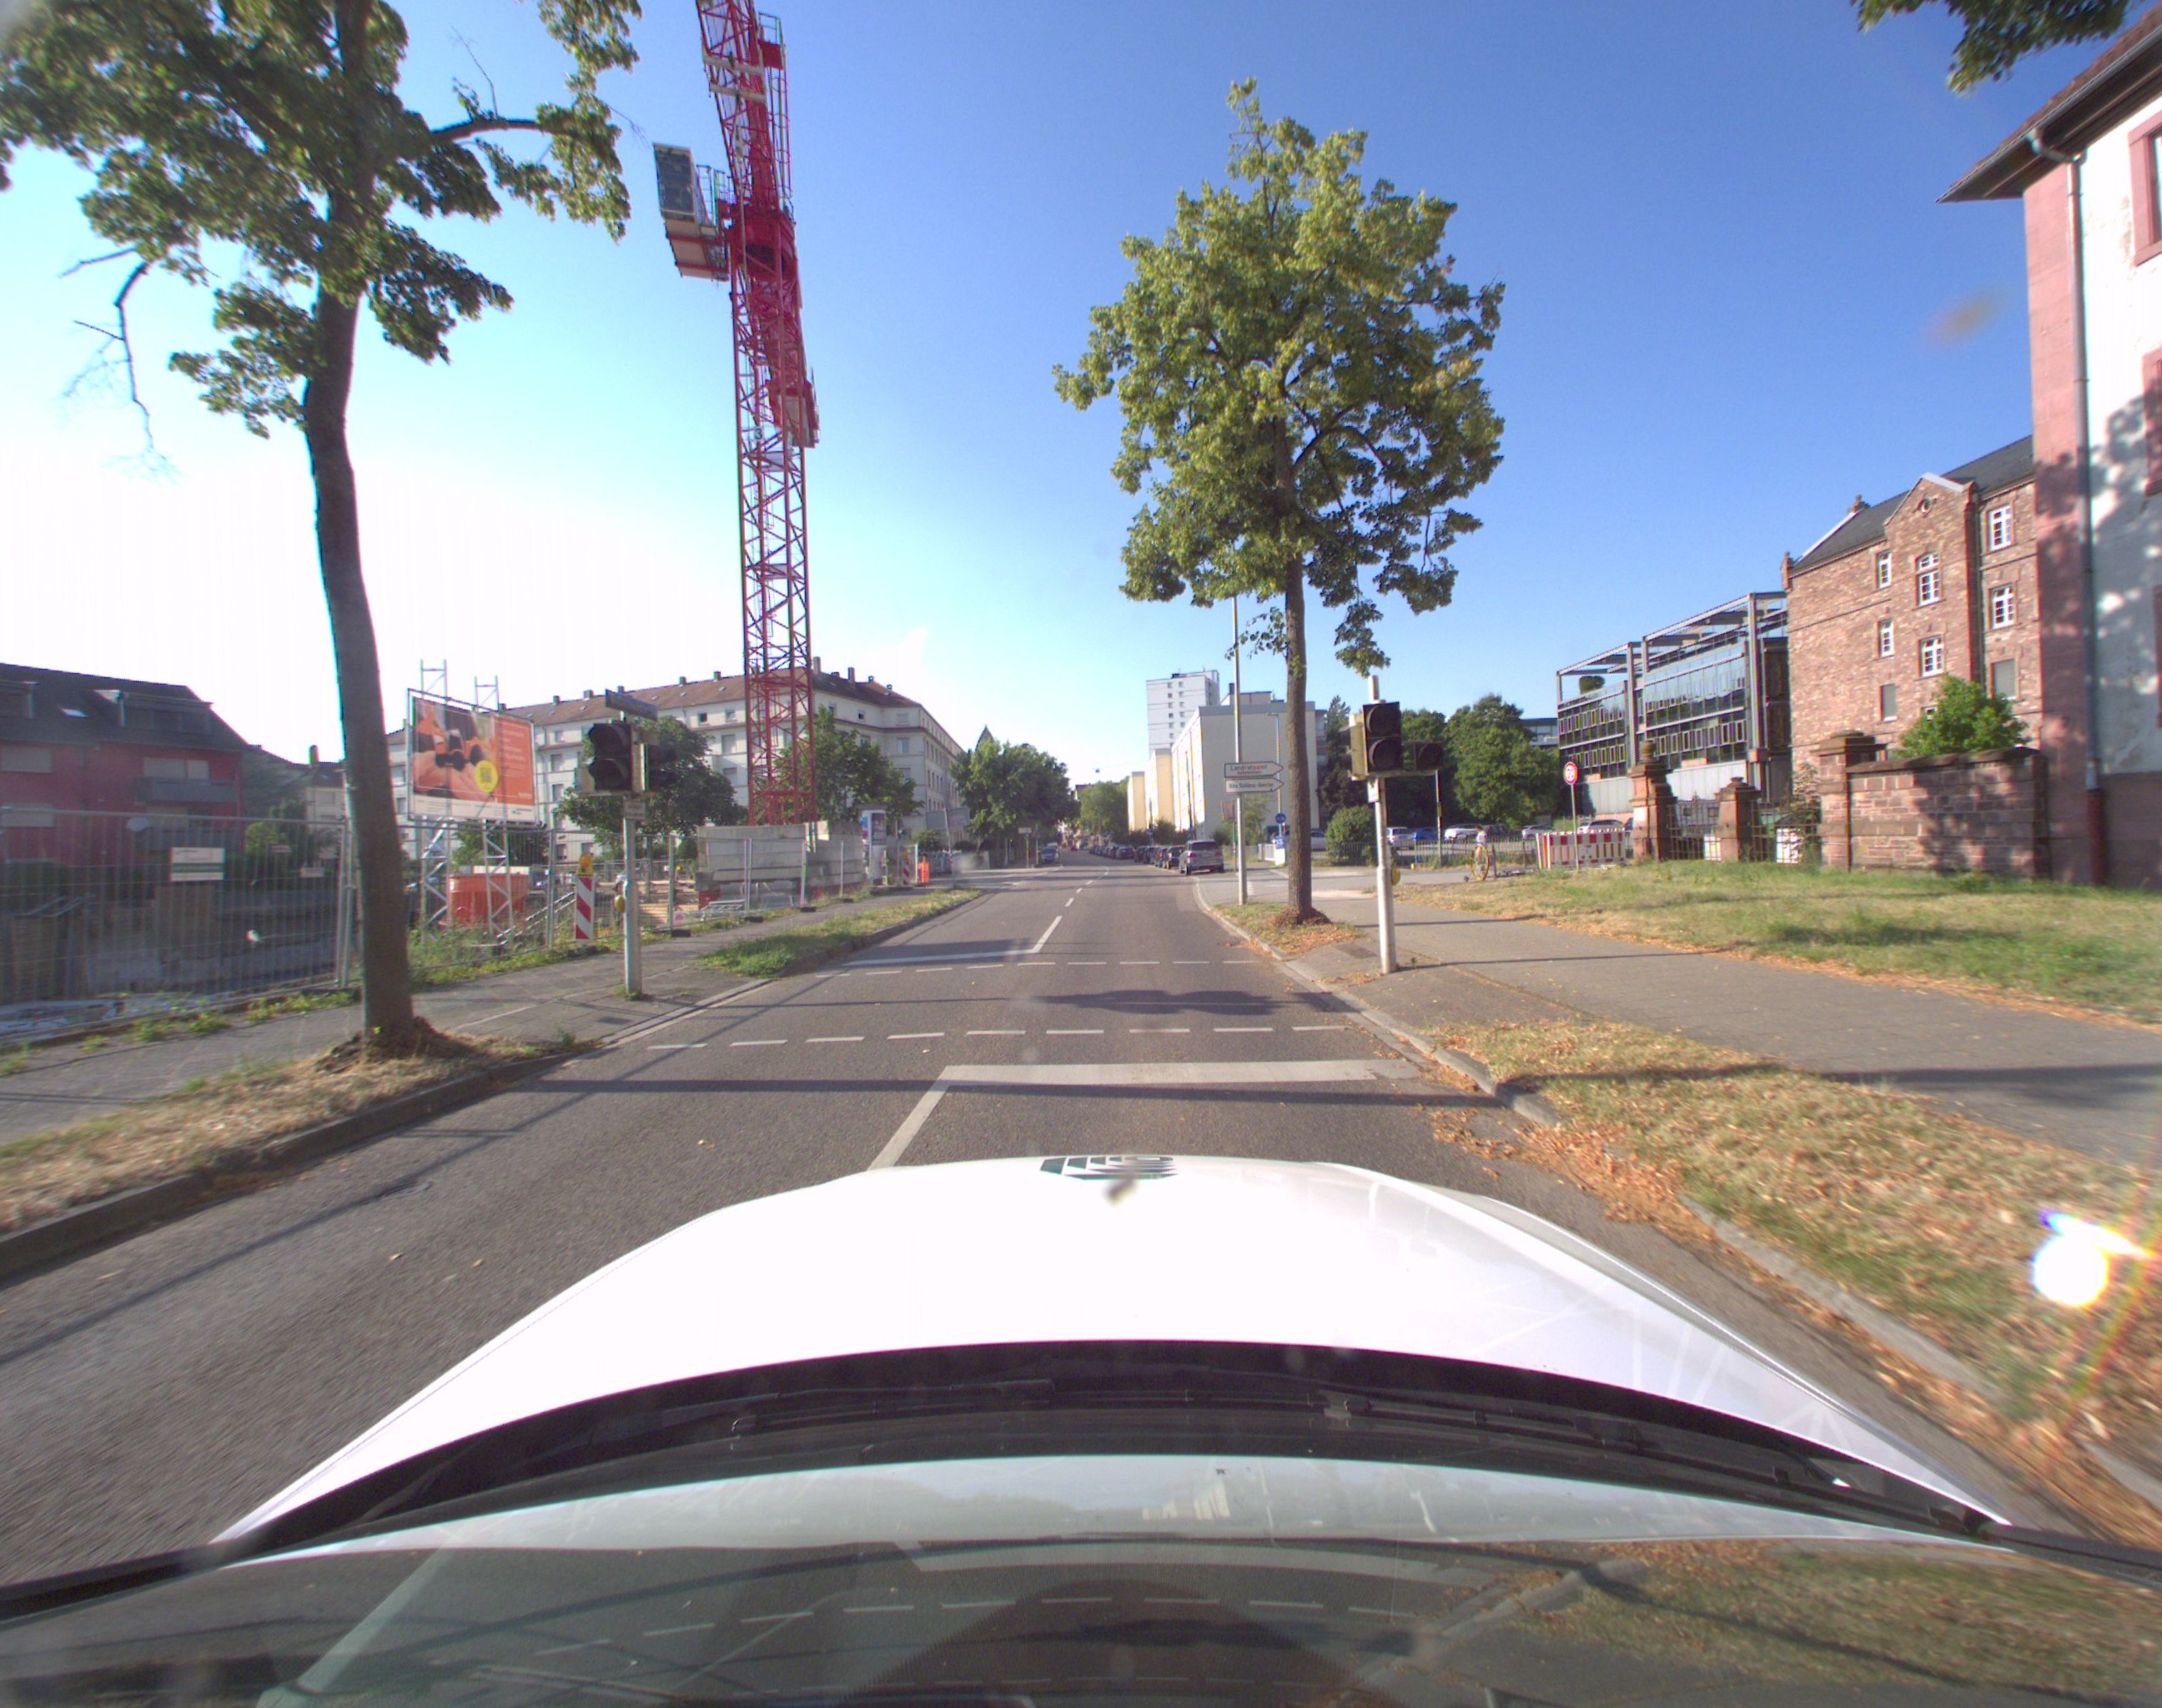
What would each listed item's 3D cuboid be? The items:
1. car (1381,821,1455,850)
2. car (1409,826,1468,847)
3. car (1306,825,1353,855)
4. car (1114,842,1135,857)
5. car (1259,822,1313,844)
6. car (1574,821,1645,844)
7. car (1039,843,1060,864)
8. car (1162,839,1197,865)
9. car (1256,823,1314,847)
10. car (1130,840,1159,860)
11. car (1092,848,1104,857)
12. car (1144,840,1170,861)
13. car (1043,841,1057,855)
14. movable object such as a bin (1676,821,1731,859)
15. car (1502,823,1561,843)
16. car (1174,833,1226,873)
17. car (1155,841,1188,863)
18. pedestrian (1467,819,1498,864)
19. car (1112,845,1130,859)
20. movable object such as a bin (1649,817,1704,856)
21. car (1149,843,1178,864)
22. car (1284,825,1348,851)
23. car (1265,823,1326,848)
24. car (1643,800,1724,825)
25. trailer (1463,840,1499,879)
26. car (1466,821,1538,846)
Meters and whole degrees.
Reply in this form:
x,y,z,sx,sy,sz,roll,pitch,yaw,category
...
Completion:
x,y,z,sx,sy,sz,roll,pitch,yaw,category
21.894,-1.208,52.976,3.976,1.794,1.999,0,-1,-2,car
30.699,-1.473,70.008,4.262,1.725,1.999,0,-1,-2,car
14.845,-0.800,48.802,1.647,1.662,4.000,0,-1,0,car
5.039,-0.519,94.653,1.795,1.507,4.615,-3,0,-4,car
17.057,-1.733,67.935,3.976,1.794,1.999,0,-1,-2,car
41.261,-1.670,63.662,4.262,1.725,1.999,0,-1,-2,car
-3.149,-0.021,82.029,1.836,1.896,4.485,4,-1,-1,car
6.429,-0.102,53.640,1.736,1.540,4.440,-4,-1,1,car
15.762,-1.447,63.033,3.974,1.794,2.000,0,-1,0,car
5.967,-0.368,76.839,1.883,1.561,4.940,-8,0,-4,car
3.418,-0.364,165.254,1.896,1.651,4.332,-1,1,-7,car
6.479,-0.283,69.866,1.895,1.779,4.582,0,-1,1,car
-5.504,-1.002,146.463,2.351,2.445,6.160,0,-1,-2,car
18.439,-0.416,24.134,0.977,1.092,0.942,-1,-1,12,movable object such as a bin
41.018,-1.875,74.219,4.262,1.725,1.999,0,-1,-2,car
6.139,-0.041,42.523,1.915,1.779,4.811,-6,-1,1,car
6.522,-0.141,59.220,1.895,1.529,4.811,0,0,1,car
14.807,-0.450,30.054,0.712,1.611,0.789,0,-1,-3,pedestrian
5.182,-0.231,105.970,1.767,1.677,4.643,-6,0,-2,car
17.123,-0.497,23.450,0.977,1.092,0.942,-1,-1,12,movable object such as a bin
6.456,-0.068,64.029,1.647,1.436,3.956,-3,2,-3,car
16.679,-1.130,57.835,3.976,1.794,1.999,0,-1,-2,car
15.941,-1.378,60.606,3.976,1.794,1.999,0,-1,-2,car
39.538,-2.696,53.502,4.060,1.503,1.830,0,-1,-2,car
11.409,0.157,23.275,0.480,1.067,1.269,0,-1,4,trailer
30.909,-1.490,59.813,4.262,1.725,1.999,0,-1,-2,car
